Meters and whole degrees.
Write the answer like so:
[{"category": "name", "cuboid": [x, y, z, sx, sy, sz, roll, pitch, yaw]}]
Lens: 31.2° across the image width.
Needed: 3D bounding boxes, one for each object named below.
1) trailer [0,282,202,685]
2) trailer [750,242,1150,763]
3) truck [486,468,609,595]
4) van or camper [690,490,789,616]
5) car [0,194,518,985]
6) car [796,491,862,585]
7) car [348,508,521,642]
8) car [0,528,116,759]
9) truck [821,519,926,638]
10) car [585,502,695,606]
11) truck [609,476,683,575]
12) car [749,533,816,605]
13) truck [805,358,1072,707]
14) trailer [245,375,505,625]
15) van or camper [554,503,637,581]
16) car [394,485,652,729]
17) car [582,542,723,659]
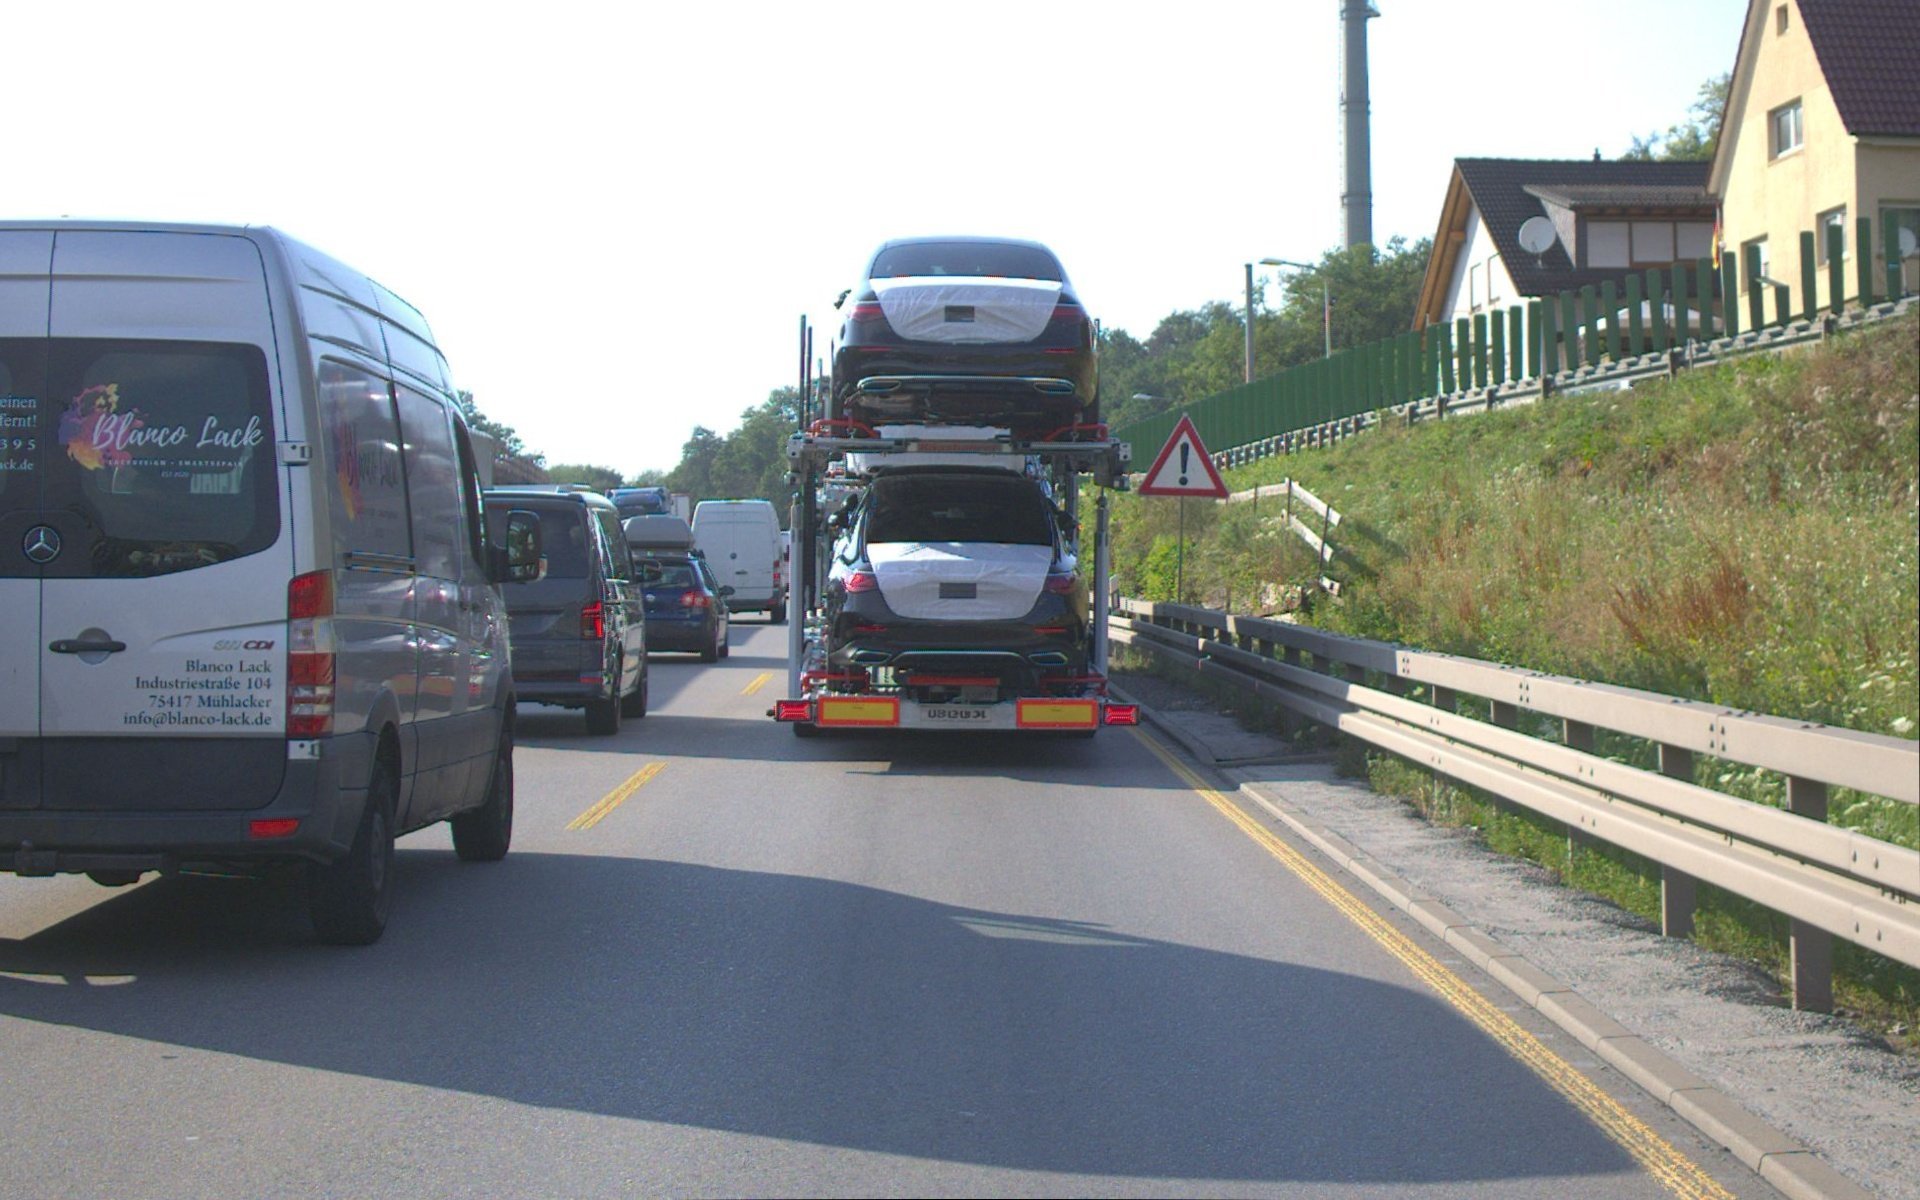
[{"category": "trailer", "cuboid": [-10.471, -1.280, 38.363, 2.764, 4.127, 5.977, 1, 1, -1]}, {"category": "trailer", "cuboid": [-0.157, -0.695, 31.109, 2.682, 3.523, 15.289, 1, 0, -1]}, {"category": "truck", "cuboid": [-11.835, -1.910, 99.234, 2.714, 3.413, 8.142, -2, 0, -2]}, {"category": "van or camper", "cuboid": [-4.720, -0.988, 74.089, 1.968, 2.583, 5.042, 1, 0, -2]}, {"category": "car", "cuboid": [-3.157, -0.081, 14.265, 1.993, 2.639, 5.531, 0, 1, -1]}, {"category": "car", "cuboid": [-7.292, -3.391, 189.812, 3.444, 5.018, 9.654, 1, 1, -3]}, {"category": "car", "cuboid": [-6.825, -0.315, 45.030, 1.640, 1.639, 4.689, 1, 0, -1]}, {"category": "car", "cuboid": [-7.323, 0.259, 24.290, 1.725, 1.551, 4.297, 1, 1, -1]}, {"category": "truck", "cuboid": [-3.461, -0.919, 139.544, 4.065, 4.663, 10.592, 0, 1, -1]}, {"category": "car", "cuboid": [-7.899, -1.131, 85.223, 2.471, 2.525, 4.000, 0, 0, -1]}, {"category": "truck", "cuboid": [-13.681, -3.254, 150.425, 2.624, 4.098, 9.629, -3, 1, -3]}, {"category": "car", "cuboid": [-5.300, -0.935, 103.145, 1.885, 2.093, 3.766, 1, 1, -1]}, {"category": "truck", "cuboid": [-0.261, -0.705, 38.635, 2.682, 3.523, 7.194, 1, 0, -1]}, {"category": "trailer", "cuboid": [-10.913, -1.712, 65.645, 2.913, 4.225, 13.770, 1, 0, -2]}, {"category": "van or camper", "cuboid": [-12.967, -2.074, 122.672, 2.312, 2.653, 6.455, -2, 1, -1]}, {"category": "car", "cuboid": [-3.621, 0.065, 29.077, 1.808, 1.897, 4.000, 1, 0, -2]}, {"category": "car", "cuboid": [-4.202, -0.026, 47.428, 1.725, 1.517, 3.974, 1, 1, -2]}]
